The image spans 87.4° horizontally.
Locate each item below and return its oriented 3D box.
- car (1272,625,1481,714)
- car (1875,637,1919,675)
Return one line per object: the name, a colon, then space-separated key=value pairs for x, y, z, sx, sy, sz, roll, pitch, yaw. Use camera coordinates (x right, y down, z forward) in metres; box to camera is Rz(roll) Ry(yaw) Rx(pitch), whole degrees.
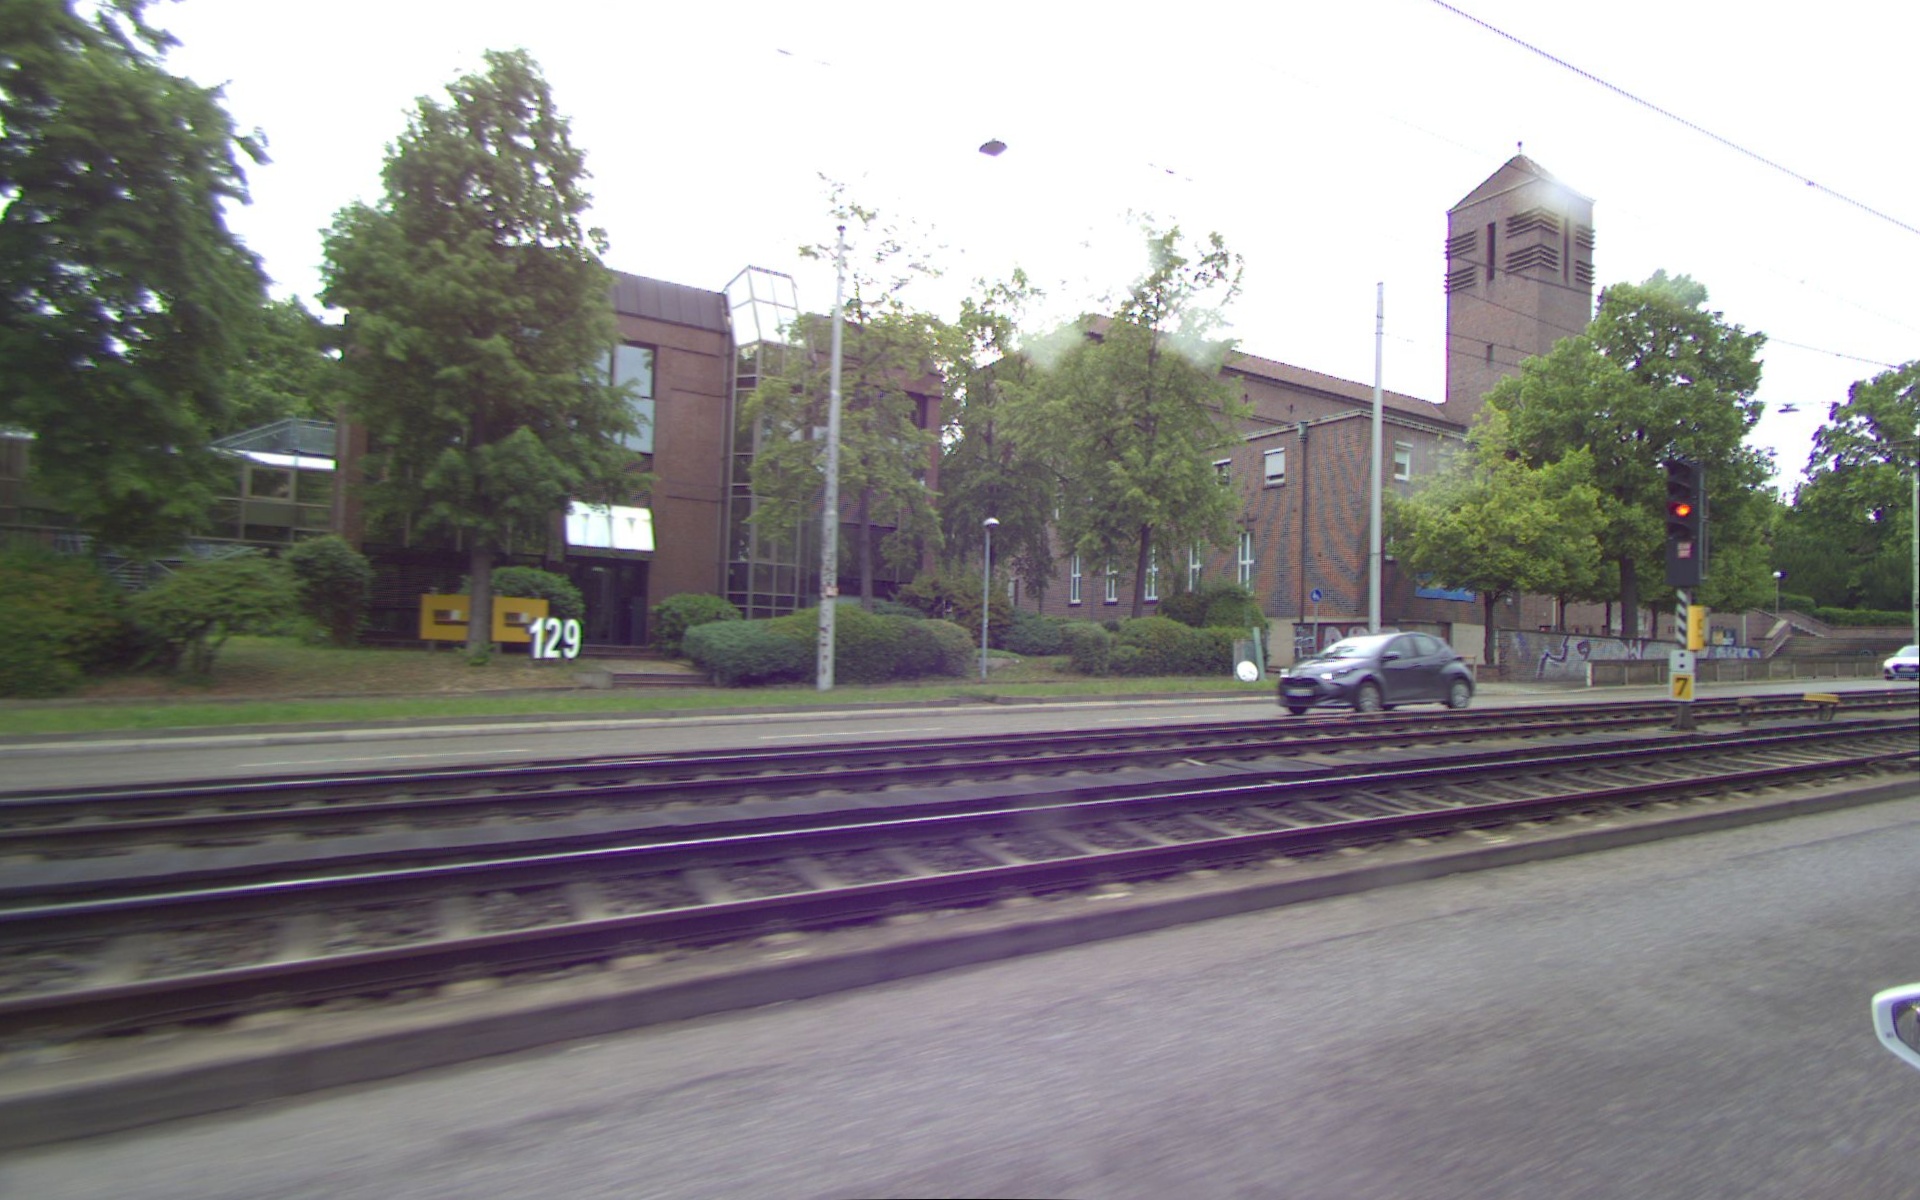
car: x=7.651 y=1.230 z=18.421 sx=3.564 sy=1.480 sz=1.674 roll=1 pitch=-3 yaw=-29
car: x=39.404 y=2.270 z=41.264 sx=3.953 sy=1.453 sz=1.609 roll=1 pitch=0 yaw=-30
